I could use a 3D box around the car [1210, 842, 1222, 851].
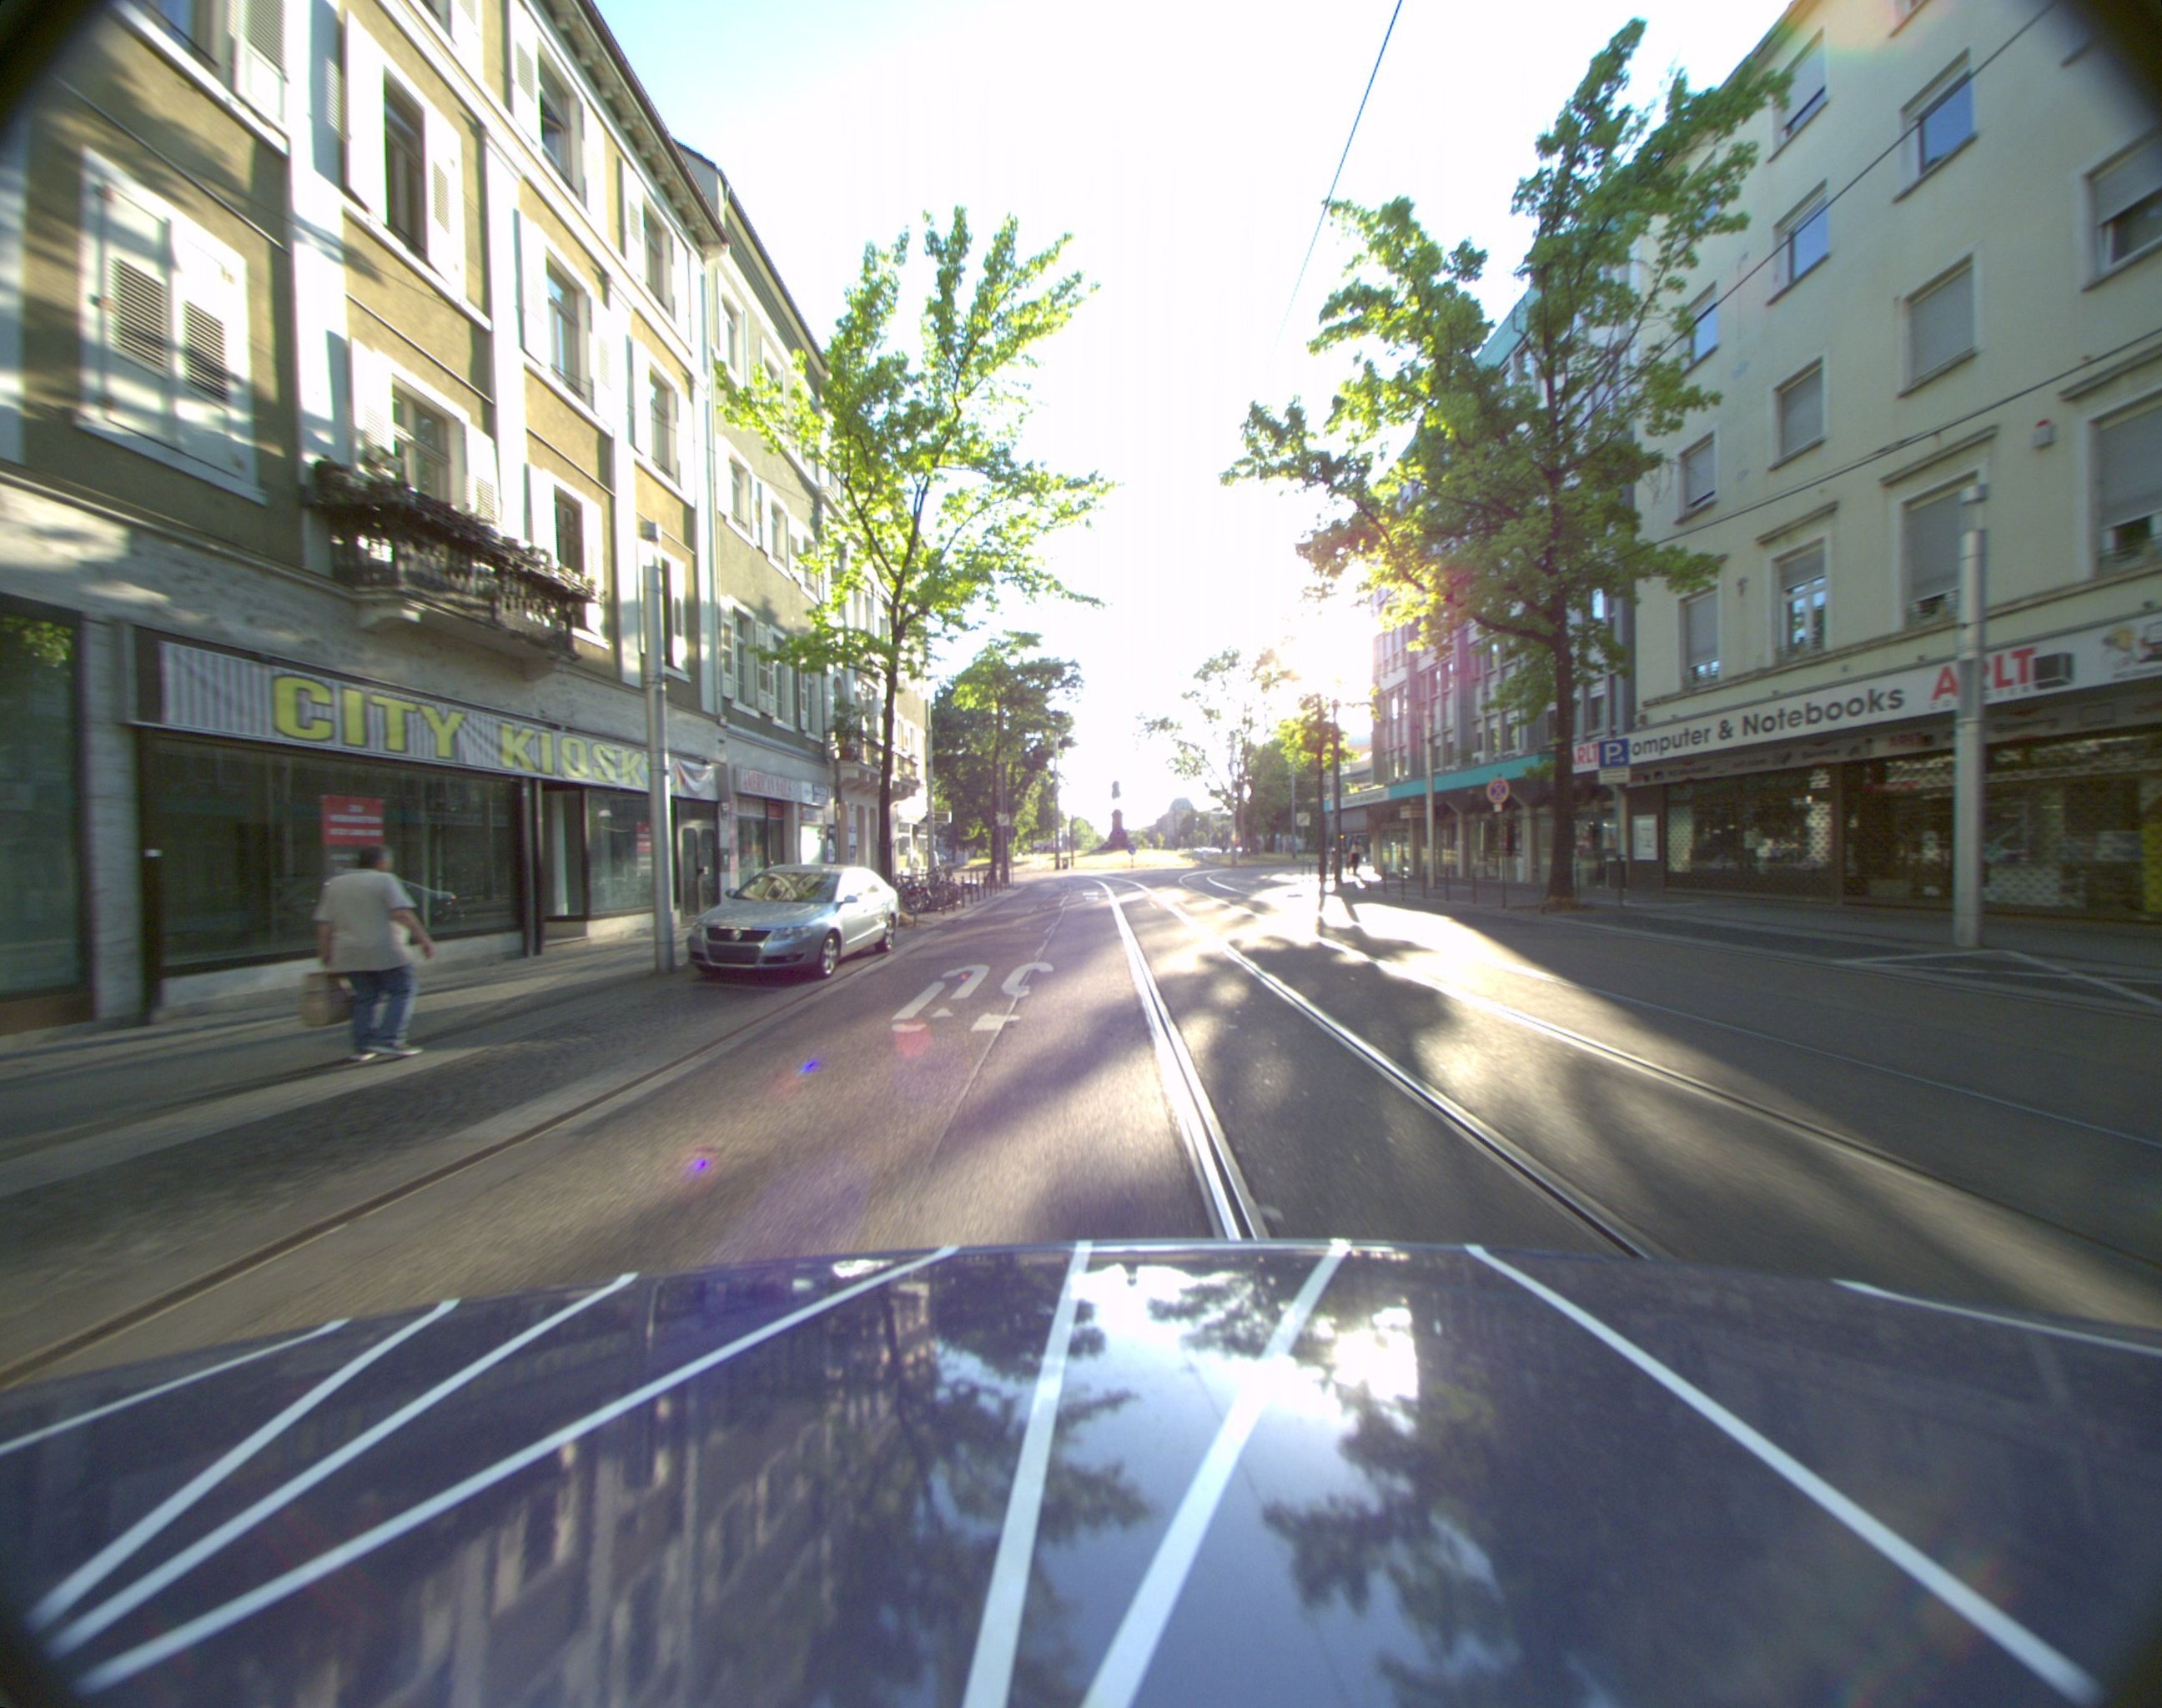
[{"bbox_3d":[29.414,-1.587,165.768,1.998,2.002,4.000,0,1,2],"label":"car"}]

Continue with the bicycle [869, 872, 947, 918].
[{"bbox_3d":[-4.553,1.064,20.049,1.870,1.148,0.562,-1,1,3],"label":"bicycle"}]

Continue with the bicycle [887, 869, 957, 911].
[{"bbox_3d":[-4.583,1.042,21.940,1.870,1.148,0.562,-1,1,3],"label":"bicycle"}]

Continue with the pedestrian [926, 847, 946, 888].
[{"bbox_3d":[-7.135,0.649,37.501,0.846,2.002,0.843,-1,2,-6],"label":"pedestrian"}]

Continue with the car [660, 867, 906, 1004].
[{"bbox_3d":[-4.097,1.017,11.345,1.780,1.432,4.422,2,1,2],"label":"car"}]

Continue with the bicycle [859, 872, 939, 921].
[{"bbox_3d":[-4.629,1.068,19.388,1.870,1.148,0.562,2,2,3],"label":"bicycle"}]

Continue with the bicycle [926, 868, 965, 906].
[{"bbox_3d":[-4.321,1.027,24.201,0.462,1.148,1.677,-2,2,-38],"label":"bicycle"}]

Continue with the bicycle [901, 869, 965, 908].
[{"bbox_3d":[-4.532,1.049,23.244,1.870,1.148,0.348,-1,2,3],"label":"bicycle"}]

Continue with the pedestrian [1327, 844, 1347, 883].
[{"bbox_3d":[13.293,0.479,39.446,0.798,2.002,0.734,-1,2,2],"label":"pedestrian"}]

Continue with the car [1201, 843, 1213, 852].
[{"bbox_3d":[29.387,-1.544,177.112,1.999,2.002,4.547,-2,1,-1],"label":"car"}]

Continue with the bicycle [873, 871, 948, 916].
[{"bbox_3d":[-4.617,1.060,20.651,1.870,1.148,0.562,-1,1,3],"label":"bicycle"}]

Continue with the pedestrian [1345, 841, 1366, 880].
[{"bbox_3d":[14.255,0.321,39.456,0.798,2.002,0.734,-1,2,2],"label":"pedestrian"}]

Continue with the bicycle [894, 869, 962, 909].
[{"bbox_3d":[-4.554,1.033,22.630,1.870,1.148,0.562,-1,1,3],"label":"bicycle"}]

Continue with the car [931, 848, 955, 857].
[{"bbox_3d":[-26.409,-0.274,145.289,1.995,1.596,4.531,-1,1,28],"label":"car"}]

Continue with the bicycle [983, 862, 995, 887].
[{"bbox_3d":[-4.256,0.932,35.142,0.355,1.070,1.698,-1,1,-2],"label":"bicycle"}]

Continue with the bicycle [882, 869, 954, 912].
[{"bbox_3d":[-4.552,1.012,21.266,1.870,1.148,0.562,-1,1,3],"label":"bicycle"}]

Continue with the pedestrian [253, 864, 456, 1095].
[{"bbox_3d":[-5.485,0.900,5.792,0.805,1.633,0.756,0,1,1],"label":"pedestrian"}]
